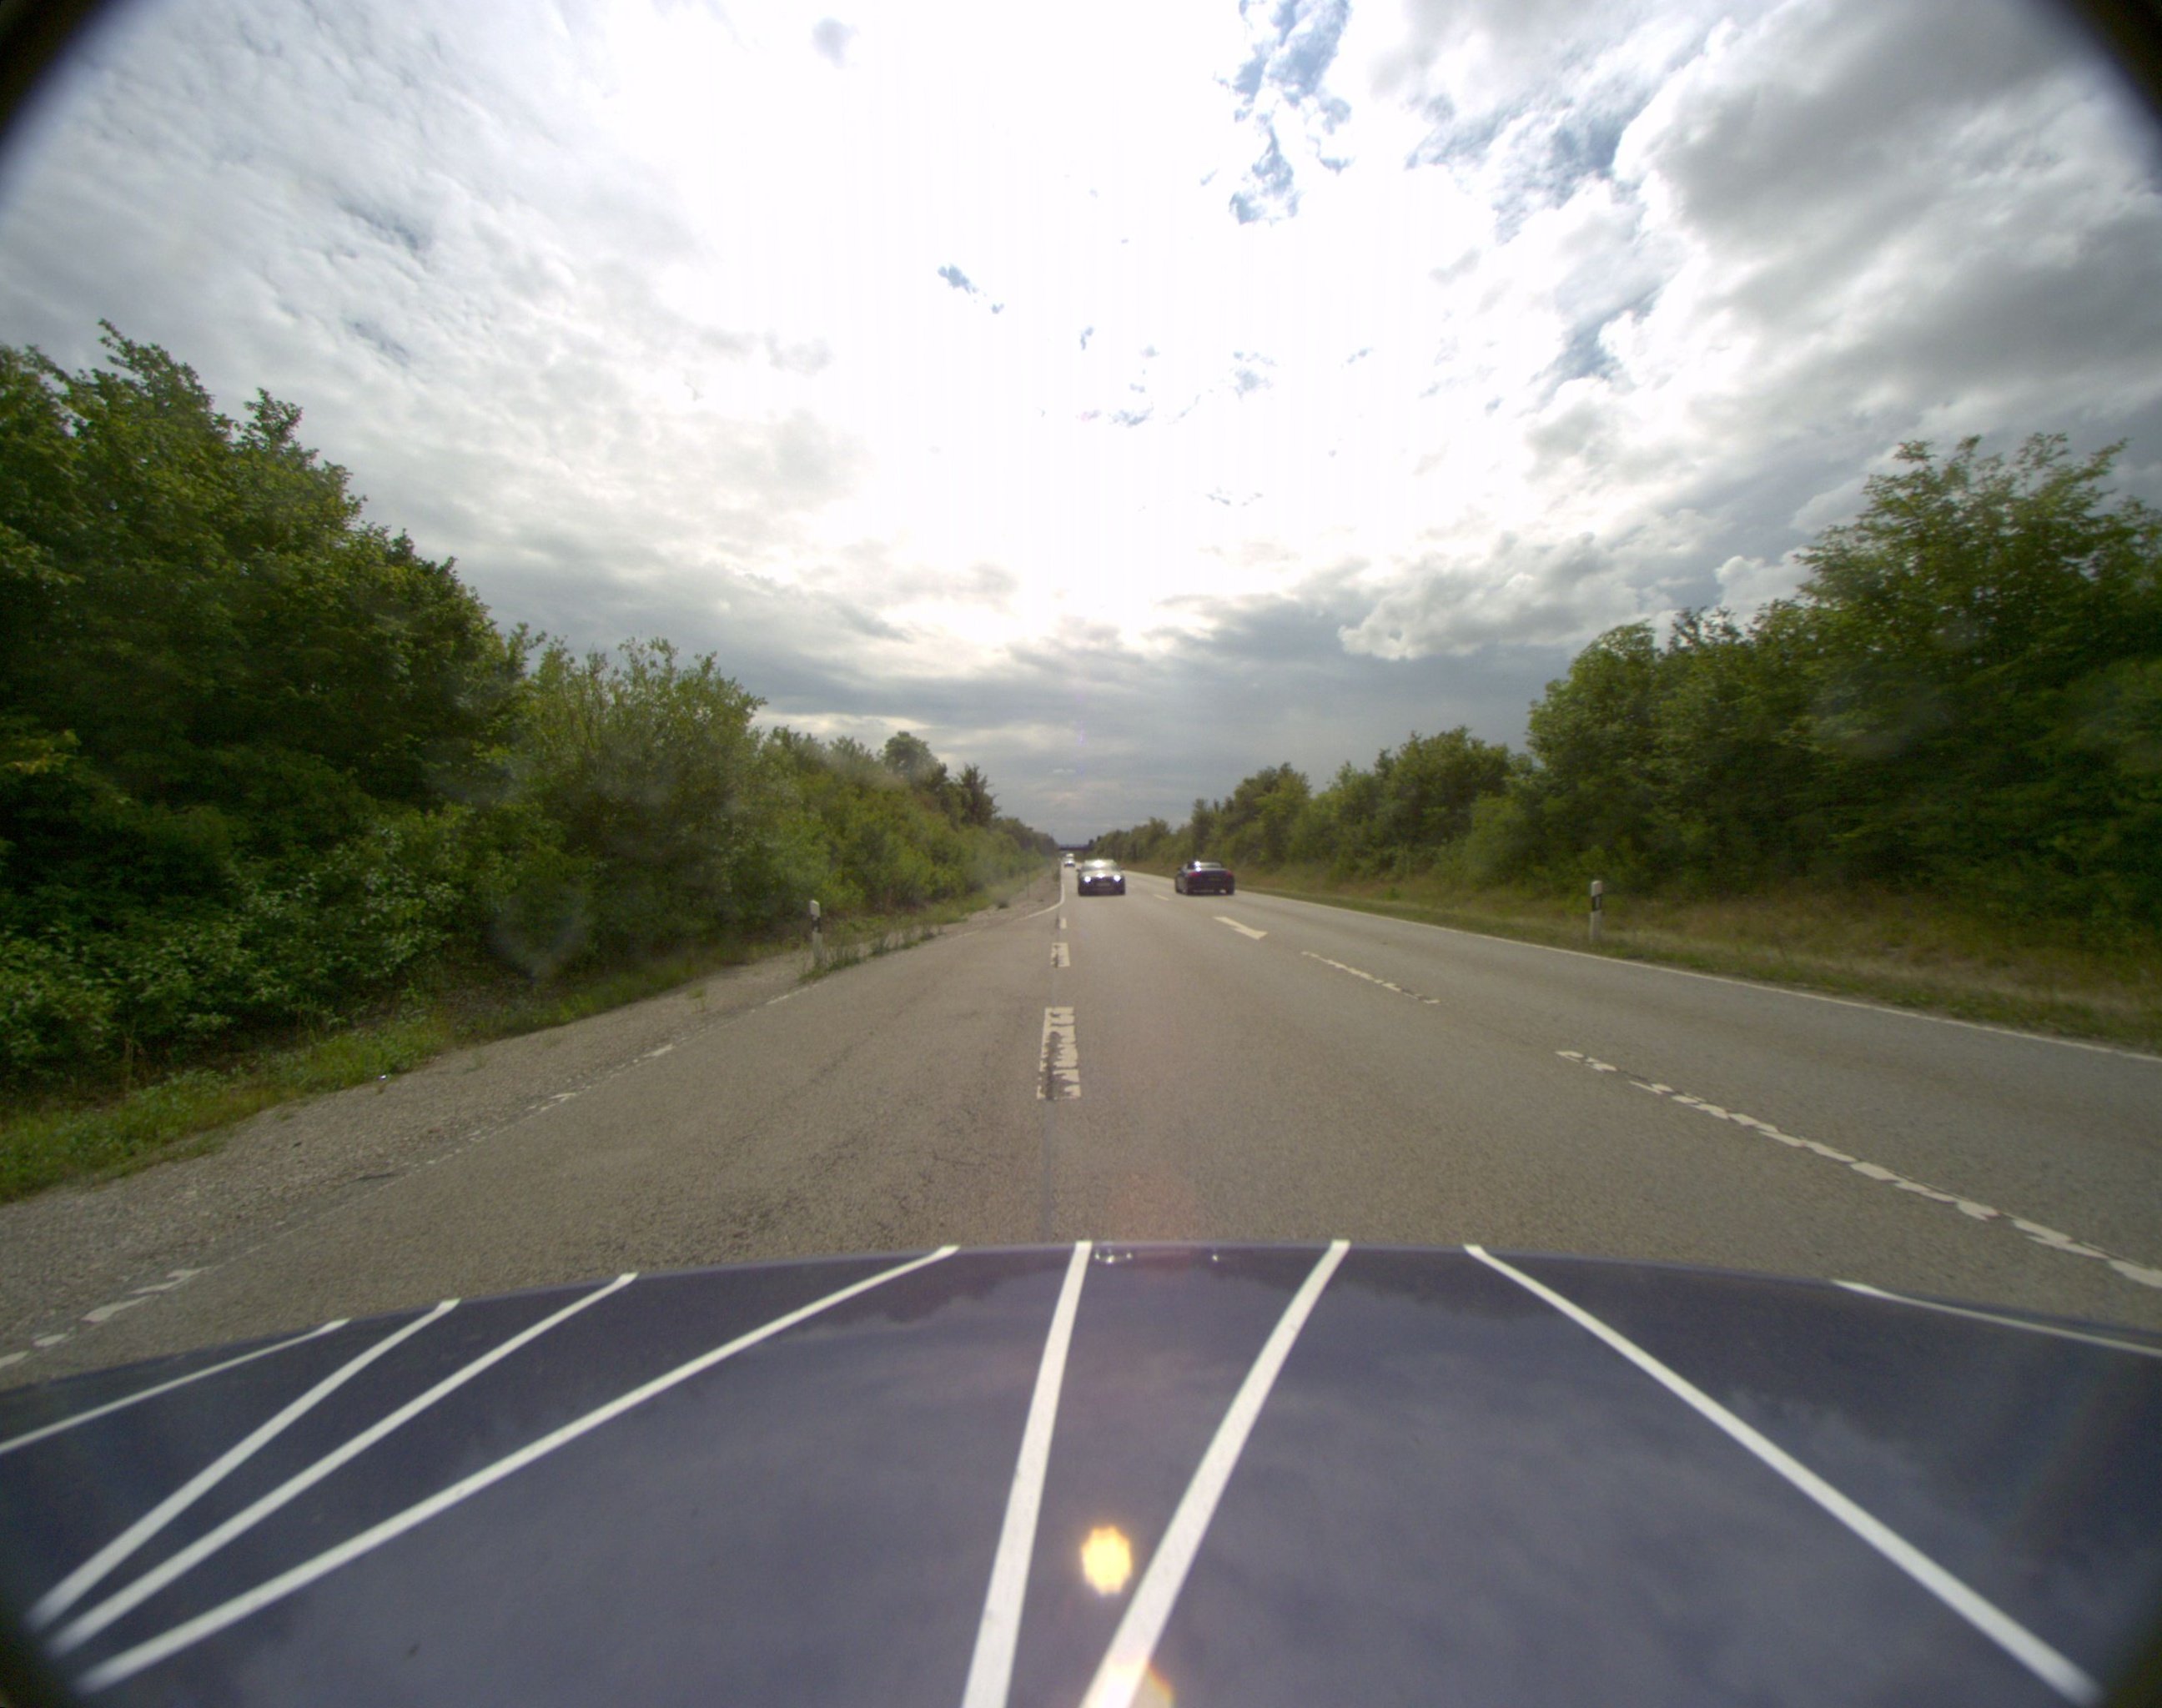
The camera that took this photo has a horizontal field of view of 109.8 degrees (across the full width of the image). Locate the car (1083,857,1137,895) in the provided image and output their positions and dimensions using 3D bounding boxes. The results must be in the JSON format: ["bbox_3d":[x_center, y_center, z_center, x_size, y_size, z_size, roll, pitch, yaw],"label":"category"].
[{"bbox_3d":[1.197,0.883,32.939,1.999,1.436,4.640,-2,0,-1],"label":"car"}]

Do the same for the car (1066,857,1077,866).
[{"bbox_3d":[-1.645,1.288,136.912,1.870,1.597,3.999,-1,0,-2],"label":"car"}]

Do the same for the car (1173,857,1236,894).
[{"bbox_3d":[4.769,0.803,29.804,1.705,1.322,3.999,0,0,-2],"label":"car"}]
